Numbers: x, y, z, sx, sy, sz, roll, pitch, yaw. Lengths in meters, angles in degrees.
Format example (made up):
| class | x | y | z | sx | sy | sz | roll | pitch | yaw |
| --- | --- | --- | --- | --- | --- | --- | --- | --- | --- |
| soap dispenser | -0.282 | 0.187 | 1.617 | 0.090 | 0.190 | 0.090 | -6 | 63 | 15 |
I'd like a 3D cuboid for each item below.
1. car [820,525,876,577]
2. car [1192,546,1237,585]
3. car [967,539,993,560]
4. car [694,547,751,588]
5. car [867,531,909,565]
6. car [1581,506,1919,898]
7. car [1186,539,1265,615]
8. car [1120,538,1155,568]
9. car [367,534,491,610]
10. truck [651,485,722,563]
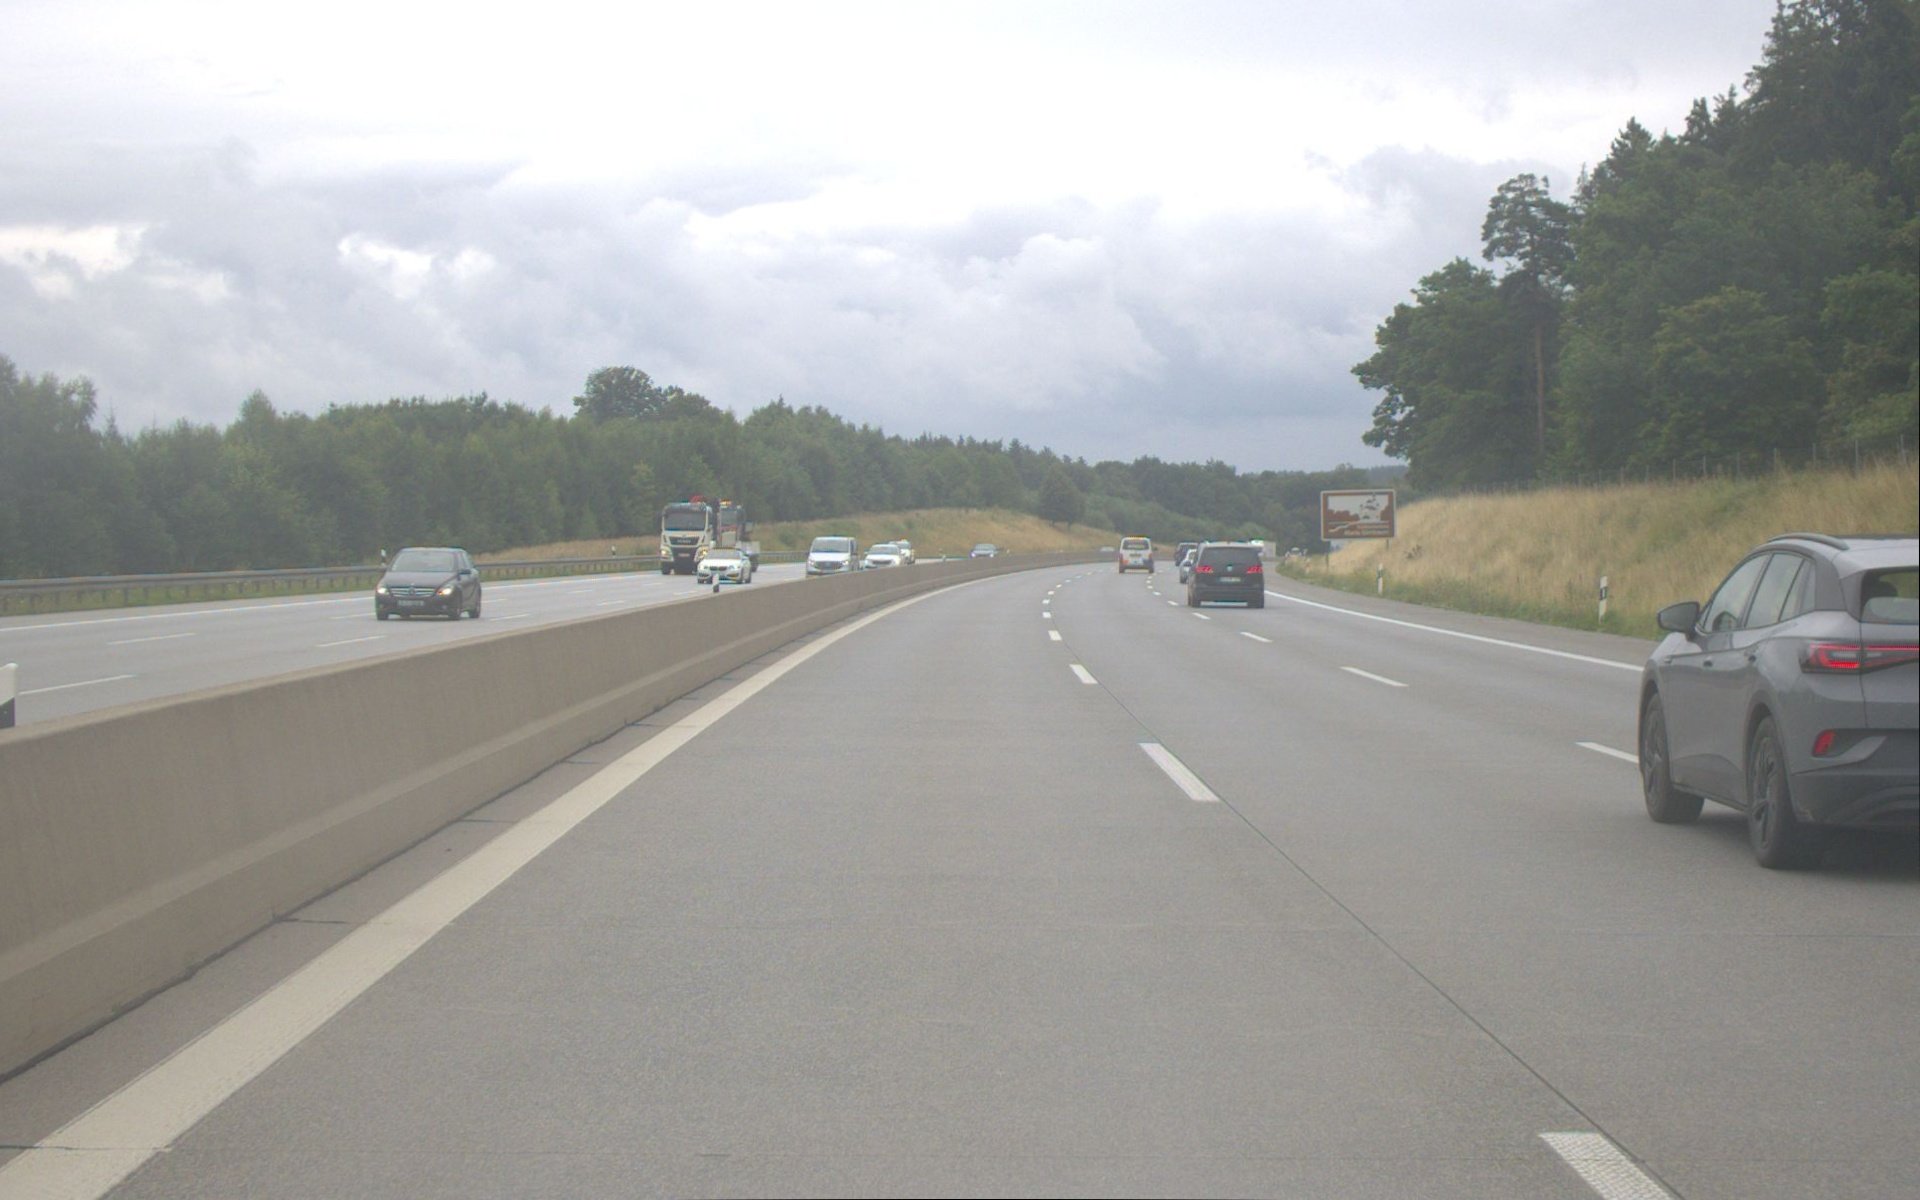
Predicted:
| class | x | y | z | sx | sy | sz | roll | pitch | yaw |
| --- | --- | --- | --- | --- | --- | --- | --- | --- | --- |
| car | -4.597 | -2.057 | 142.207 | 1.993 | 2.006 | 5.525 | 2 | 2 | 1 |
| car | 10.542 | -1.446 | 142.462 | 1.801 | 1.460 | 3.811 | 0 | 2 | 3 |
| car | 1.433 | -3.528 | 241.531 | 1.762 | 1.262 | 4.493 | -1 | -1 | 1 |
| car | -9.366 | -1.298 | 135.867 | 1.737 | 1.363 | 4.097 | 3 | 3 | 2 |
| car | -3.450 | -2.523 | 165.188 | 1.714 | 1.415 | 4.213 | 3 | 3 | 2 |
| car | 4.651 | 0.390 | 17.821 | 1.898 | 1.684 | 5.267 | 1 | 2 | 0 |
| car | 6.824 | -0.605 | 88.640 | 1.785 | 1.741 | 3.915 | -3 | 2 | 2 |
| car | 9.740 | -2.583 | 188.471 | 1.841 | 1.495 | 4.000 | -2 | 2 | 4 |
| car | -11.581 | -0.638 | 75.264 | 1.993 | 1.584 | 4.771 | 0 | 1 | 0 |
| truck | -12.989 | -3.628 | 163.867 | 2.586 | 3.640 | 7.660 | 0 | 1 | 1 |
